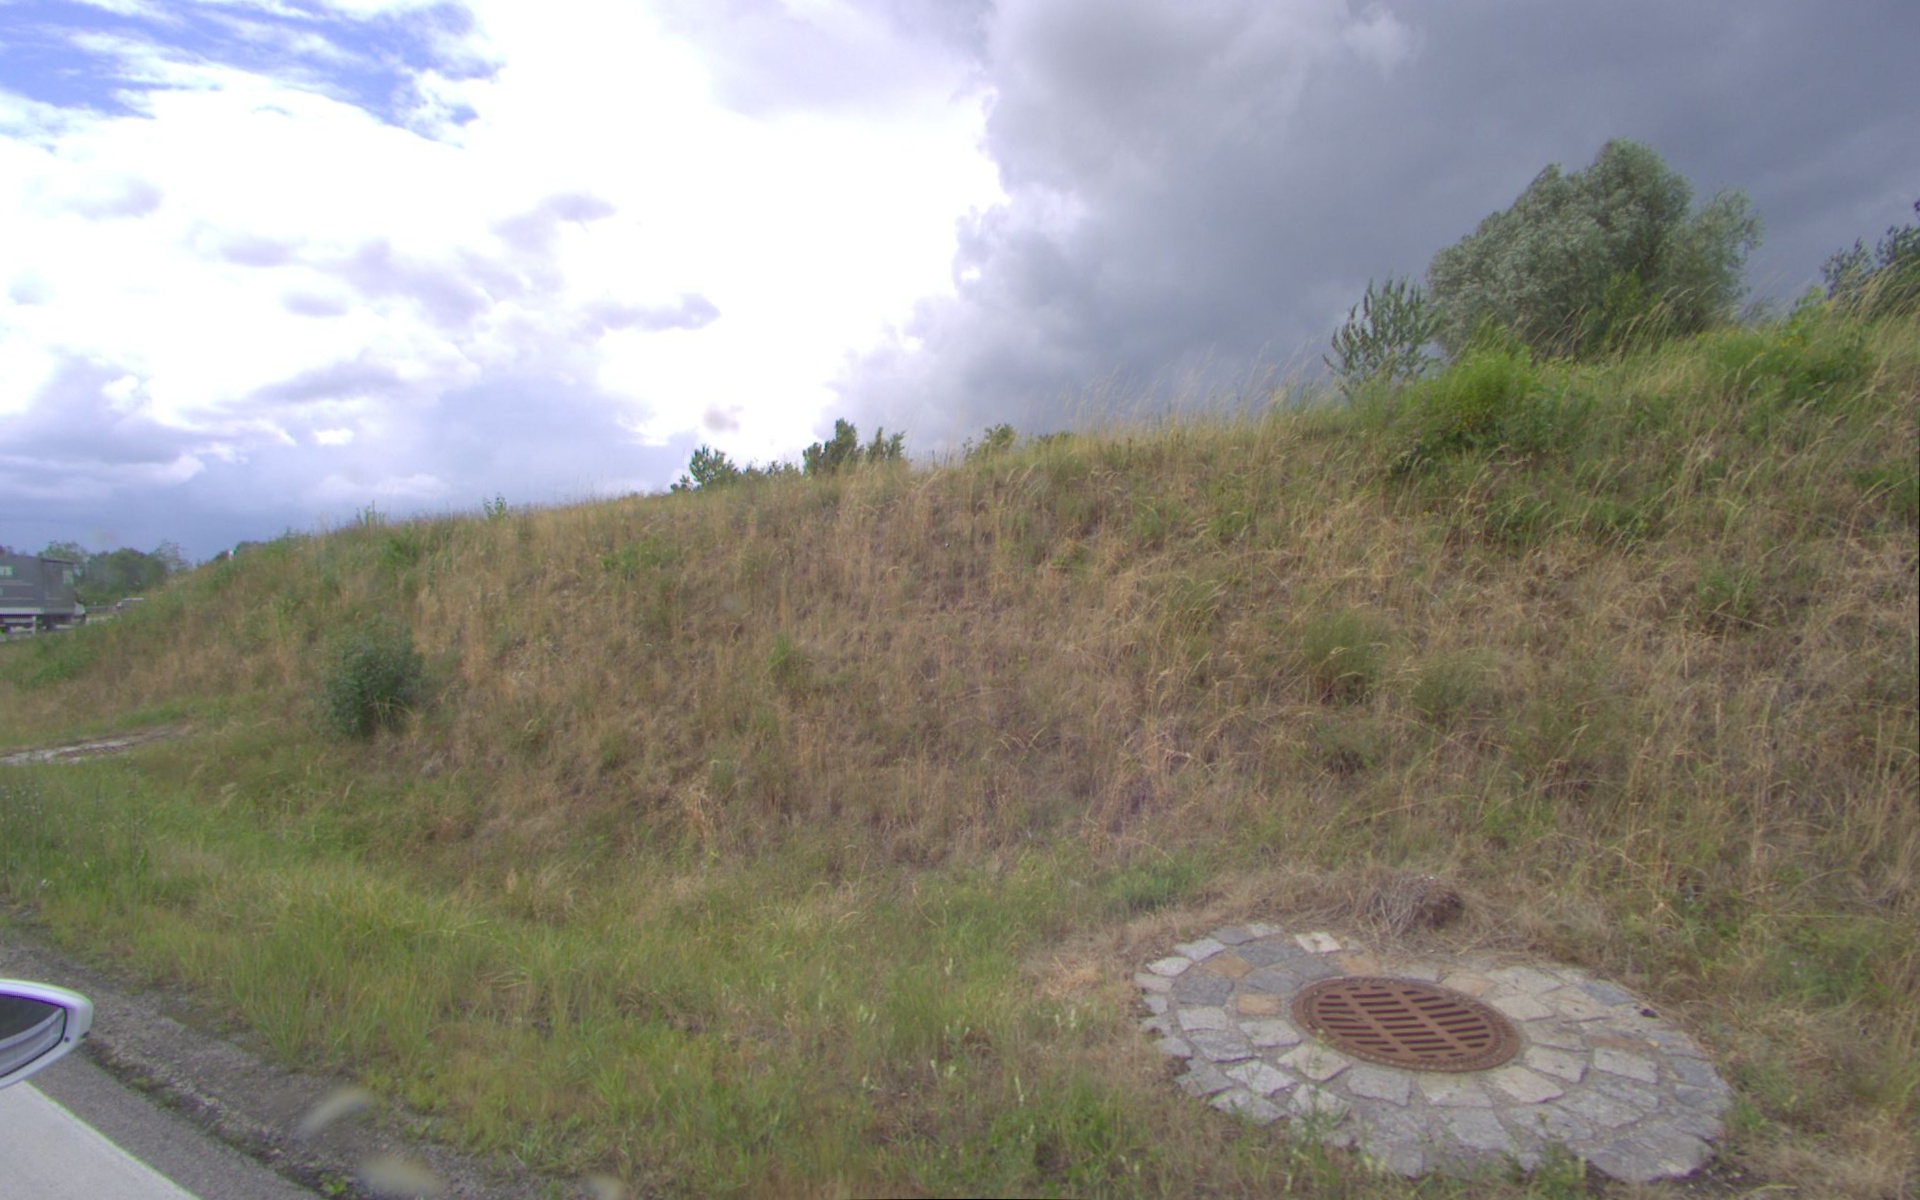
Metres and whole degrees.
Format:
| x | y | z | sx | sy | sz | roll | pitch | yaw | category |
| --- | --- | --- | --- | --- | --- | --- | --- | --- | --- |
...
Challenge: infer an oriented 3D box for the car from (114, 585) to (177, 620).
| x | y | z | sx | sy | sz | roll | pitch | yaw | category |
| --- | --- | --- | --- | --- | --- | --- | --- | --- | --- |
| -50.826 | 0.212 | 62.569 | 1.967 | 2.039 | 3.989 | 0 | -2 | -23 | car |

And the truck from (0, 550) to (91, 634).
| x | y | z | sx | sy | sz | roll | pitch | yaw | category |
| --- | --- | --- | --- | --- | --- | --- | --- | --- | --- |
| -46.232 | -0.275 | 50.455 | 2.202 | 3.956 | 5.993 | 0 | -2 | -27 | truck |
